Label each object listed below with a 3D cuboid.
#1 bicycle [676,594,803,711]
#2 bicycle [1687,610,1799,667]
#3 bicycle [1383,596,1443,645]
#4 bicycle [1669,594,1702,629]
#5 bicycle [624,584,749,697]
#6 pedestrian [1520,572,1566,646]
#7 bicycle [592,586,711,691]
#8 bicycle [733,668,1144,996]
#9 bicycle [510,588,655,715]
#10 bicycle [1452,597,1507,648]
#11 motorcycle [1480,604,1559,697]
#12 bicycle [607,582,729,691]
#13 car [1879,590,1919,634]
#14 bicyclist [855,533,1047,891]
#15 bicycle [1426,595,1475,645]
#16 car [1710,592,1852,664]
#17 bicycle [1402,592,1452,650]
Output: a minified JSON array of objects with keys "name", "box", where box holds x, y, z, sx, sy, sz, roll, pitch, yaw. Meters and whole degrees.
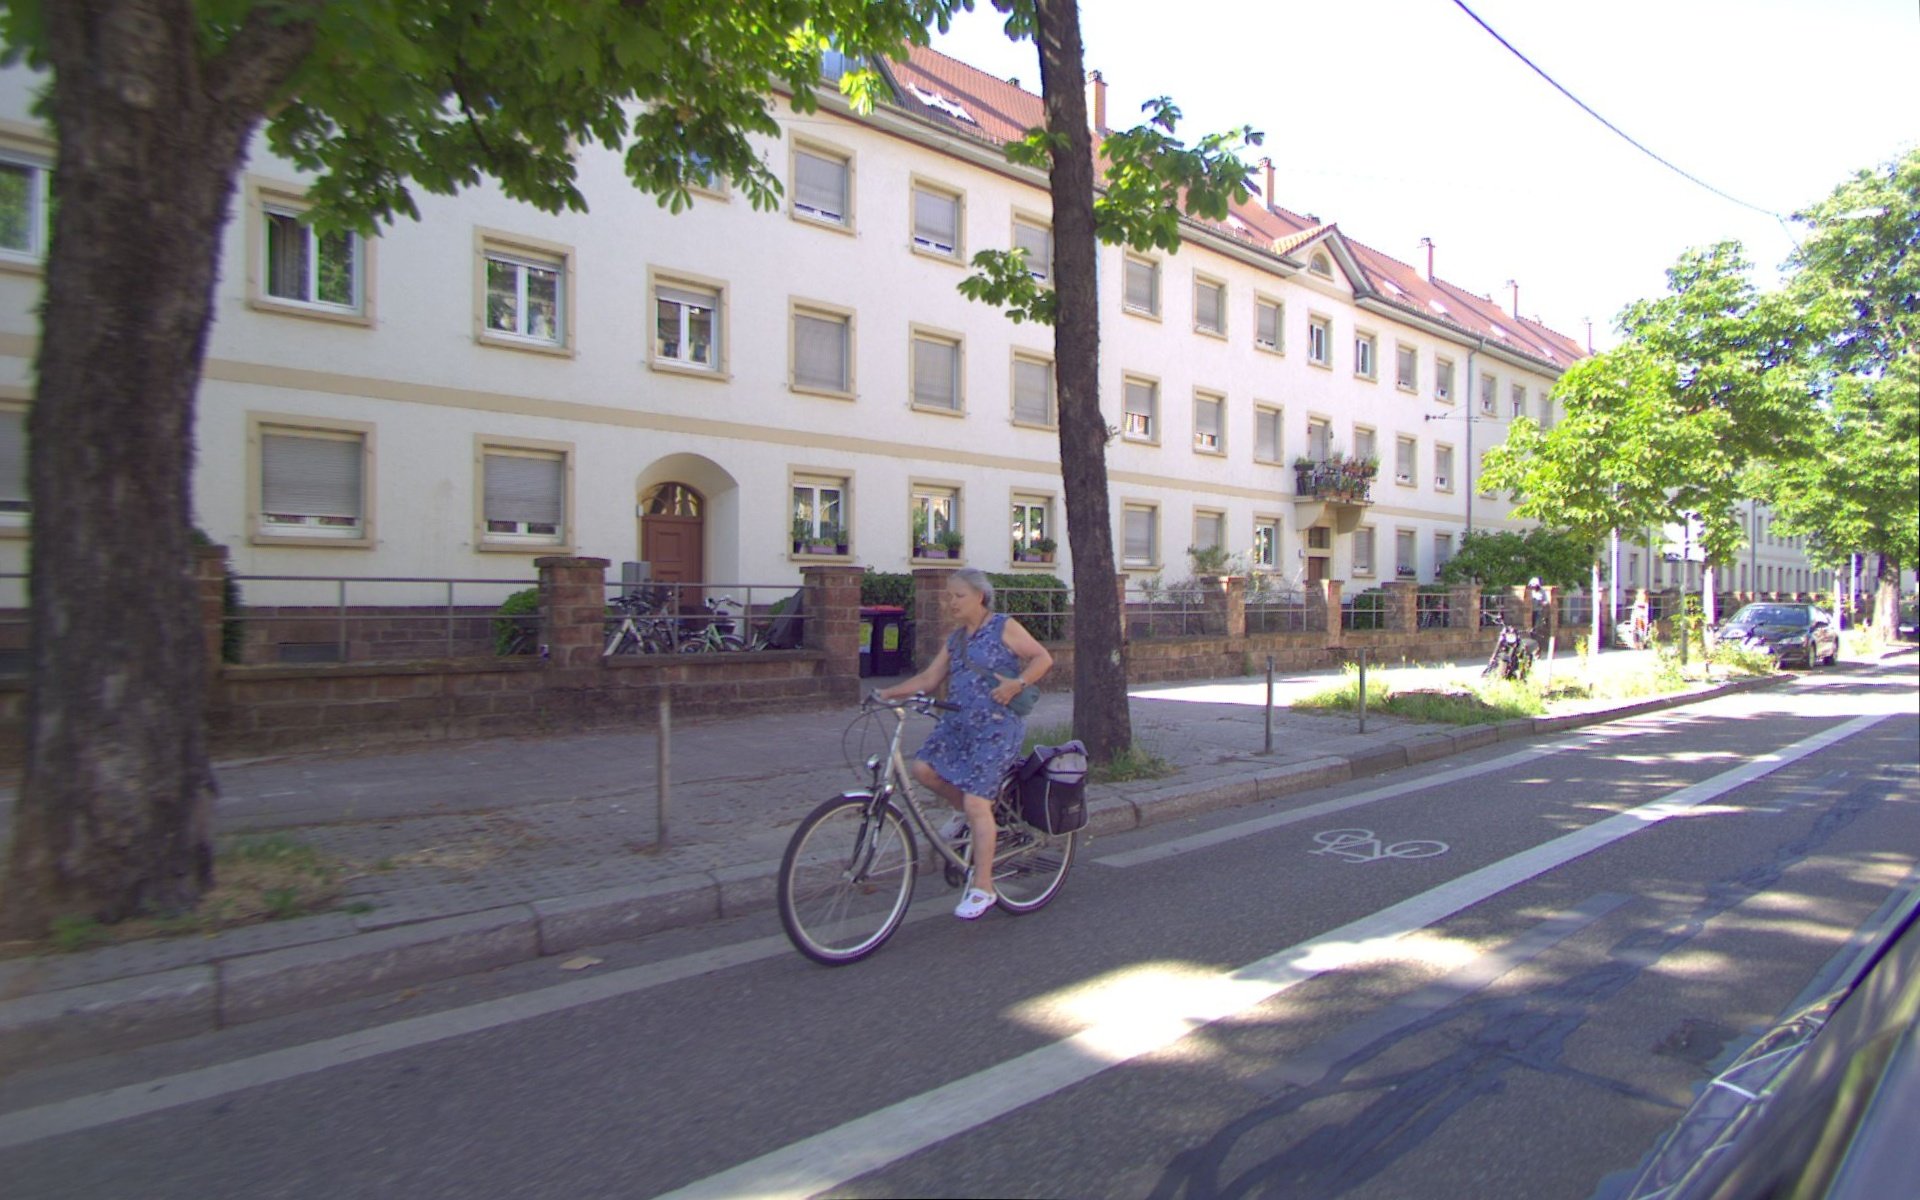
[{"name":"bicycle","box":[-2.460,0.557,11.365,1.348,1.238,0.435,0,-1,-40]},{"name":"bicycle","box":[16.626,0.800,21.514,0.610,1.080,1.795,0,2,-44]},{"name":"bicycle","box":[11.123,0.485,24.815,1.883,1.167,0.545,0,-1,-40]},{"name":"bicycle","box":[26.724,0.418,37.262,1.710,1.236,0.544,0,1,-40]},{"name":"bicycle","box":[-3.154,0.447,11.724,1.348,1.238,0.435,0,-1,-40]},{"name":"pedestrian","box":[14.117,0.212,24.504,0.568,1.746,0.766,0,-1,-10]},{"name":"bicycle","box":[-3.786,0.449,12.462,1.348,1.238,0.435,0,-1,-40]},{"name":"bicycle","box":[-0.035,0.933,4.699,1.883,1.127,0.693,0,-1,-40]},{"name":"bicycle","box":[-3.897,0.505,10.490,1.348,1.238,0.435,0,-1,-40]},{"name":"bicycle","box":[12.190,0.510,23.735,1.883,1.167,0.449,0,0,-40]},{"name":"motorcycle","box":[7.986,0.684,14.400,0.495,1.205,1.833,5,3,42]},{"name":"bicycle","box":[-3.479,0.409,12.102,1.348,1.238,0.435,0,-1,-40]},{"name":"car","box":[34.572,0.431,36.432,4.172,1.492,1.723,0,1,-41]},{"name":"bicyclist","box":[-0.047,0.469,4.652,0.605,1.487,0.636,0,-2,-39]},{"name":"bicycle","box":[11.718,0.470,24.171,1.546,1.167,0.441,0,-1,-40]},{"name":"car","box":[18.790,0.566,23.117,3.972,1.482,1.791,0,1,-40]},{"name":"bicycle","box":[10.619,0.466,23.007,1.398,1.277,0.349,0,-1,-36]}]
